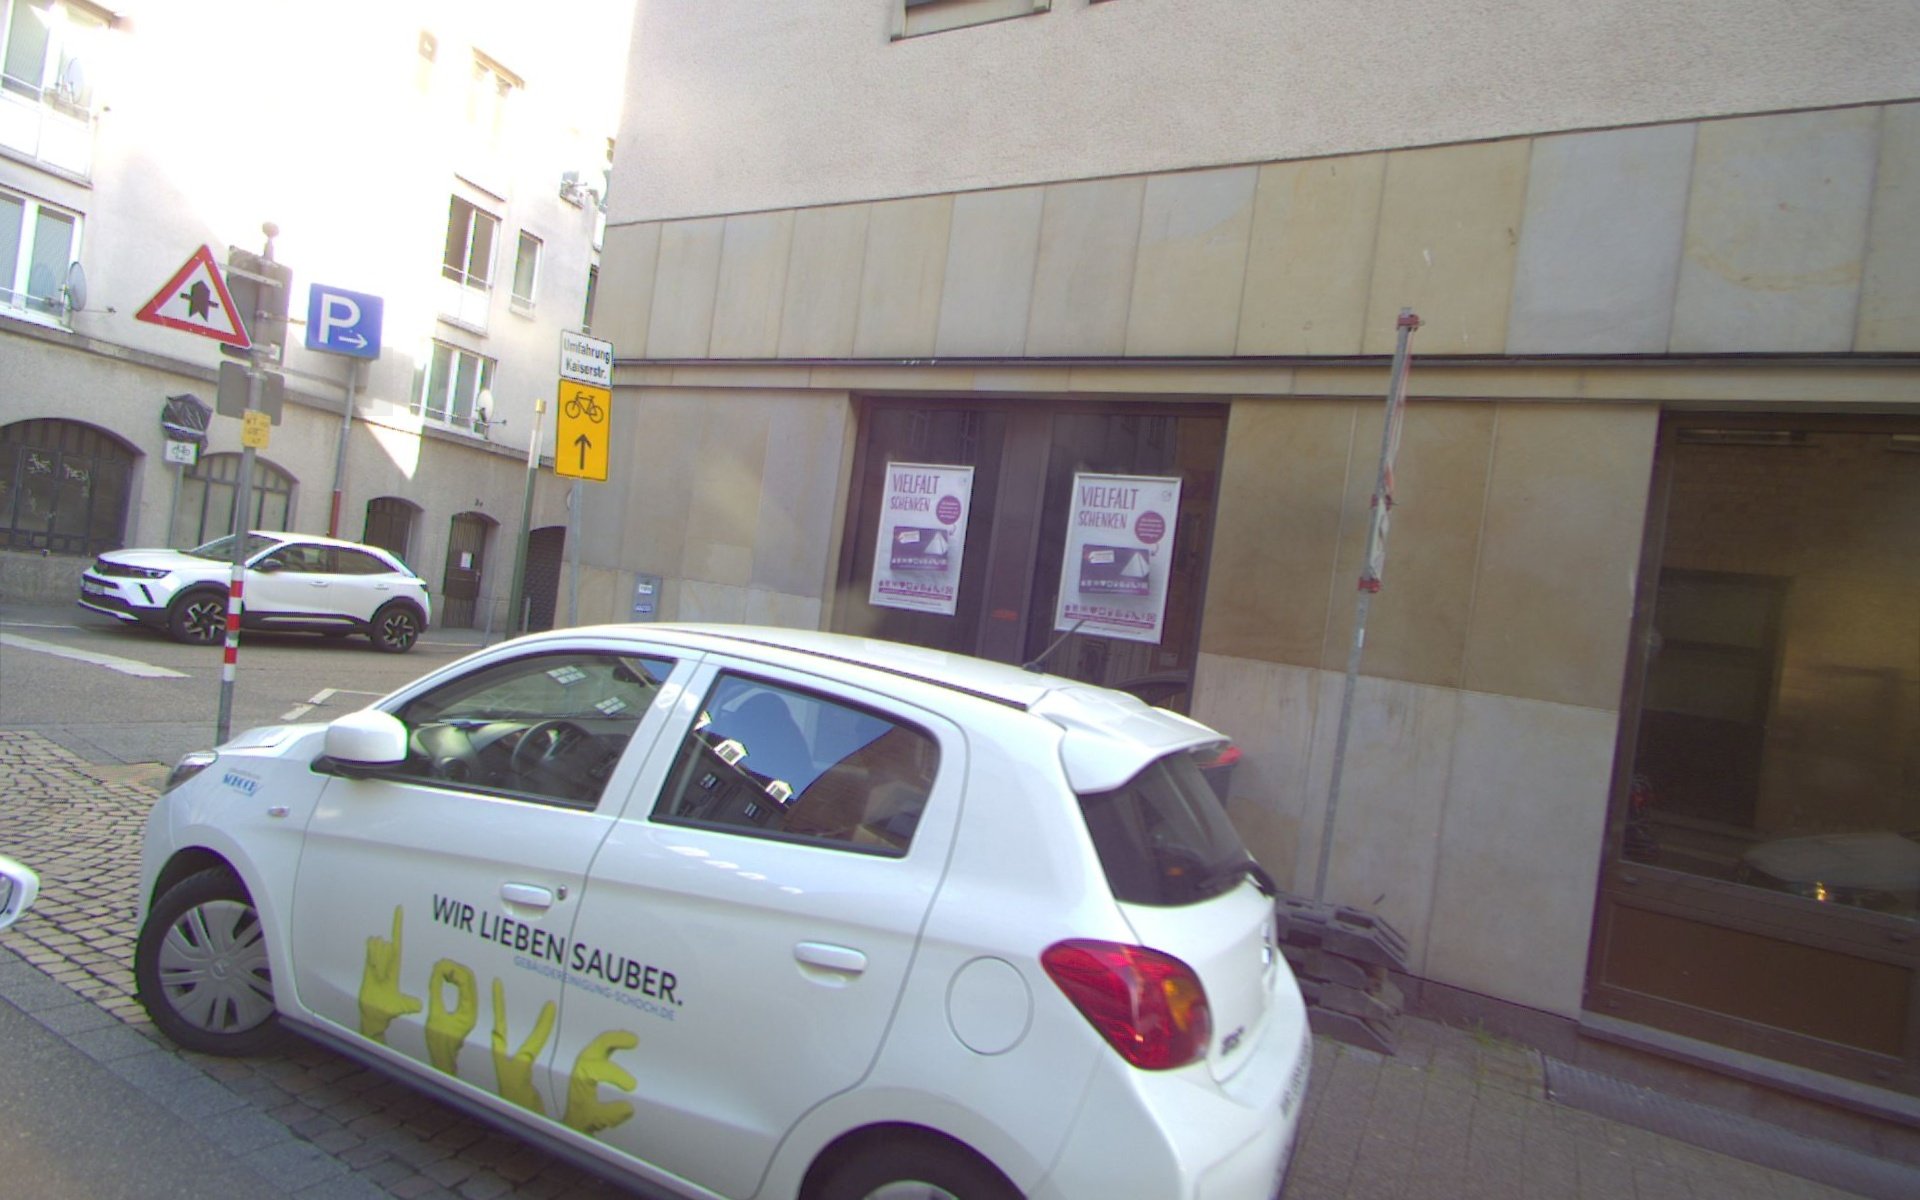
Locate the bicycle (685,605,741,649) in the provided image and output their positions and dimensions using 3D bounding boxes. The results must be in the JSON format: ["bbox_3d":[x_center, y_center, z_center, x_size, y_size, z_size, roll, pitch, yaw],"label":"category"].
[{"bbox_3d":[-6.449,0.721,26.340,0.460,1.032,1.463,8,-1,26],"label":"bicycle"}]

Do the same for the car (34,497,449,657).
[{"bbox_3d":[-9.781,-0.209,14.102,1.869,1.571,4.227,7,-2,28],"label":"car"}]

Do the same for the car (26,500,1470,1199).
[{"bbox_3d":[-0.723,0.756,3.229,3.990,1.536,1.894,7,-1,26],"label":"car"}]
